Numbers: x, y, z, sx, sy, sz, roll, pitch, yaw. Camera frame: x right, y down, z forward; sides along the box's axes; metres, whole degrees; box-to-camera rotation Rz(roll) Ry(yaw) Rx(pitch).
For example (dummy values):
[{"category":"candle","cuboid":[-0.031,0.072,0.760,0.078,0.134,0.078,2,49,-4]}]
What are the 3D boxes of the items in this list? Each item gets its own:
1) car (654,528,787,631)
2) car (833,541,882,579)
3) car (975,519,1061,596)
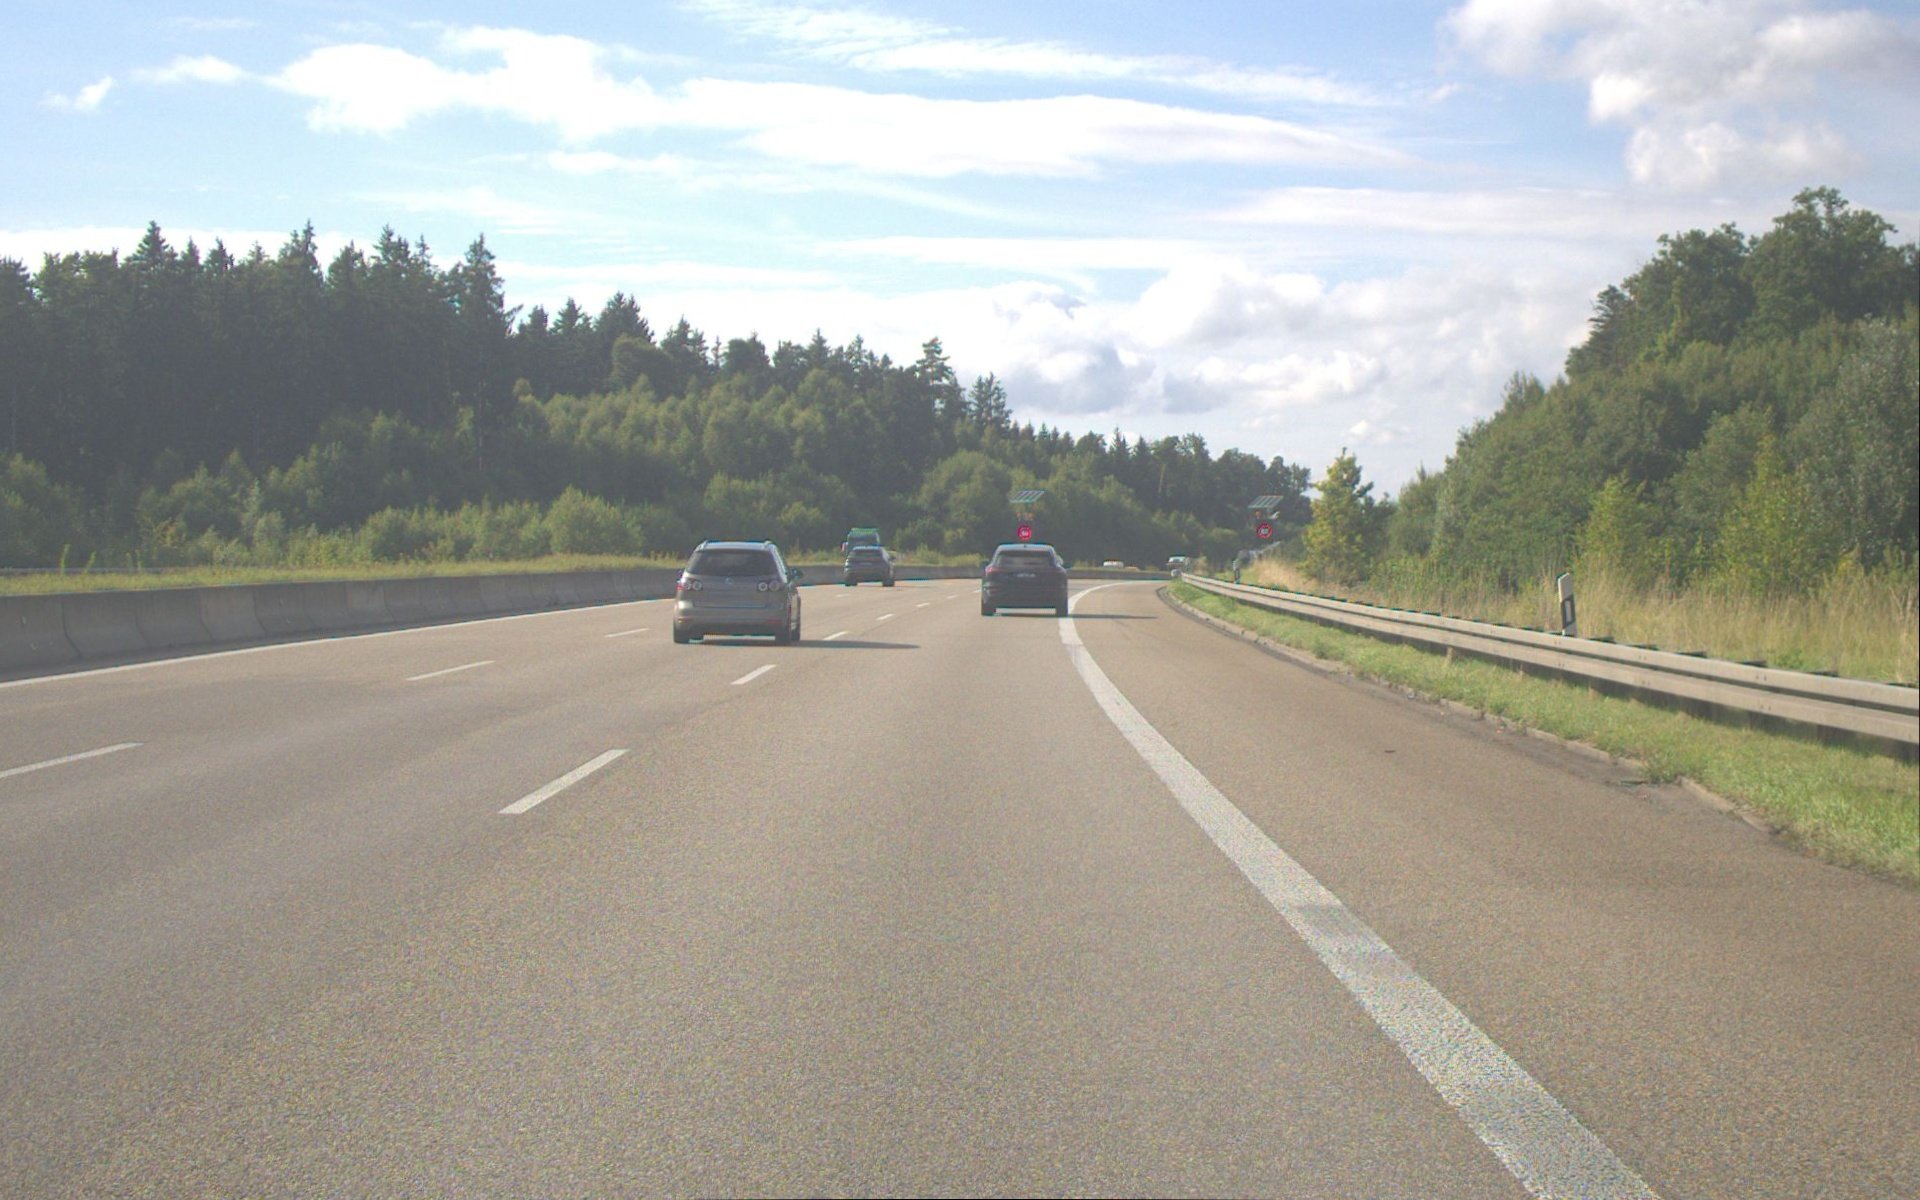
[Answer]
[{"category":"car","cuboid":[-3.642,-0.347,52.775,1.873,1.492,3.880,1,1,-2]},{"category":"car","cuboid":[-4.256,-1.675,143.628,1.873,1.492,3.880,1,1,1]},{"category":"car","cuboid":[1.317,-0.983,78.054,1.874,1.669,3.890,1,1,1]}]
